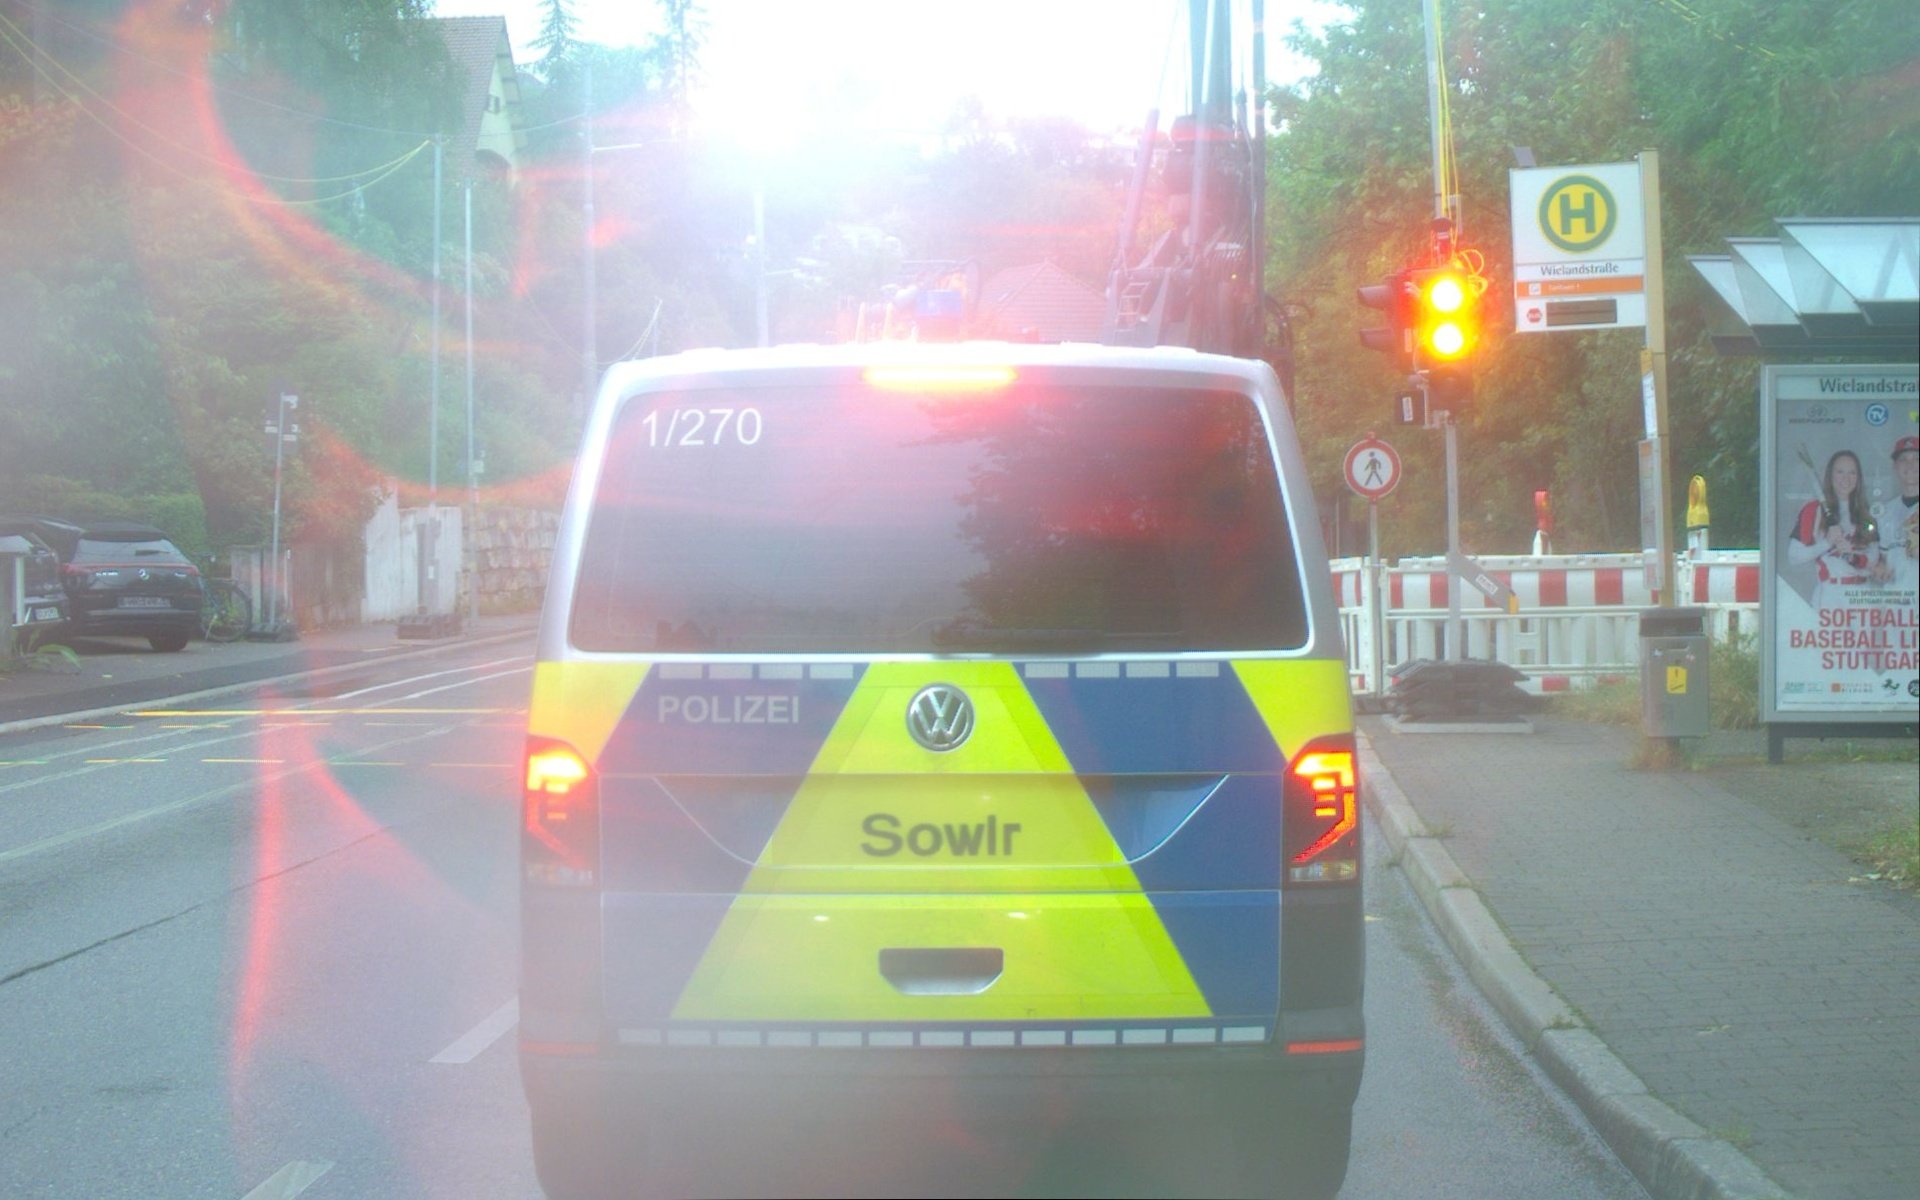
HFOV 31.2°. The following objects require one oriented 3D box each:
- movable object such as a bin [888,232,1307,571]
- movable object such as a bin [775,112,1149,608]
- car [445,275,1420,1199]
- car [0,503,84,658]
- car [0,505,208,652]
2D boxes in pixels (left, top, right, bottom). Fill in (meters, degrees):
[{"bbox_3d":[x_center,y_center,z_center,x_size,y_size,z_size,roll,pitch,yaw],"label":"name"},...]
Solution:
[{"bbox_3d":[2.360,-3.067,55.834,3.689,5.049,7.150,-1,0,32],"label":"movable object such as a bin"},{"bbox_3d":[0.132,-2.115,31.555,2.879,4.156,4.486,-1,2,6],"label":"movable object such as a bin"},{"bbox_3d":[-0.081,0.350,9.034,1.908,2.003,4.440,1,1,-1],"label":"car"},{"bbox_3d":[-11.178,-0.231,34.863,3.989,1.520,1.940,1,1,13],"label":"car"},{"bbox_3d":[-10.013,-0.269,37.772,1.781,1.520,3.999,0,1,-39],"label":"car"}]
